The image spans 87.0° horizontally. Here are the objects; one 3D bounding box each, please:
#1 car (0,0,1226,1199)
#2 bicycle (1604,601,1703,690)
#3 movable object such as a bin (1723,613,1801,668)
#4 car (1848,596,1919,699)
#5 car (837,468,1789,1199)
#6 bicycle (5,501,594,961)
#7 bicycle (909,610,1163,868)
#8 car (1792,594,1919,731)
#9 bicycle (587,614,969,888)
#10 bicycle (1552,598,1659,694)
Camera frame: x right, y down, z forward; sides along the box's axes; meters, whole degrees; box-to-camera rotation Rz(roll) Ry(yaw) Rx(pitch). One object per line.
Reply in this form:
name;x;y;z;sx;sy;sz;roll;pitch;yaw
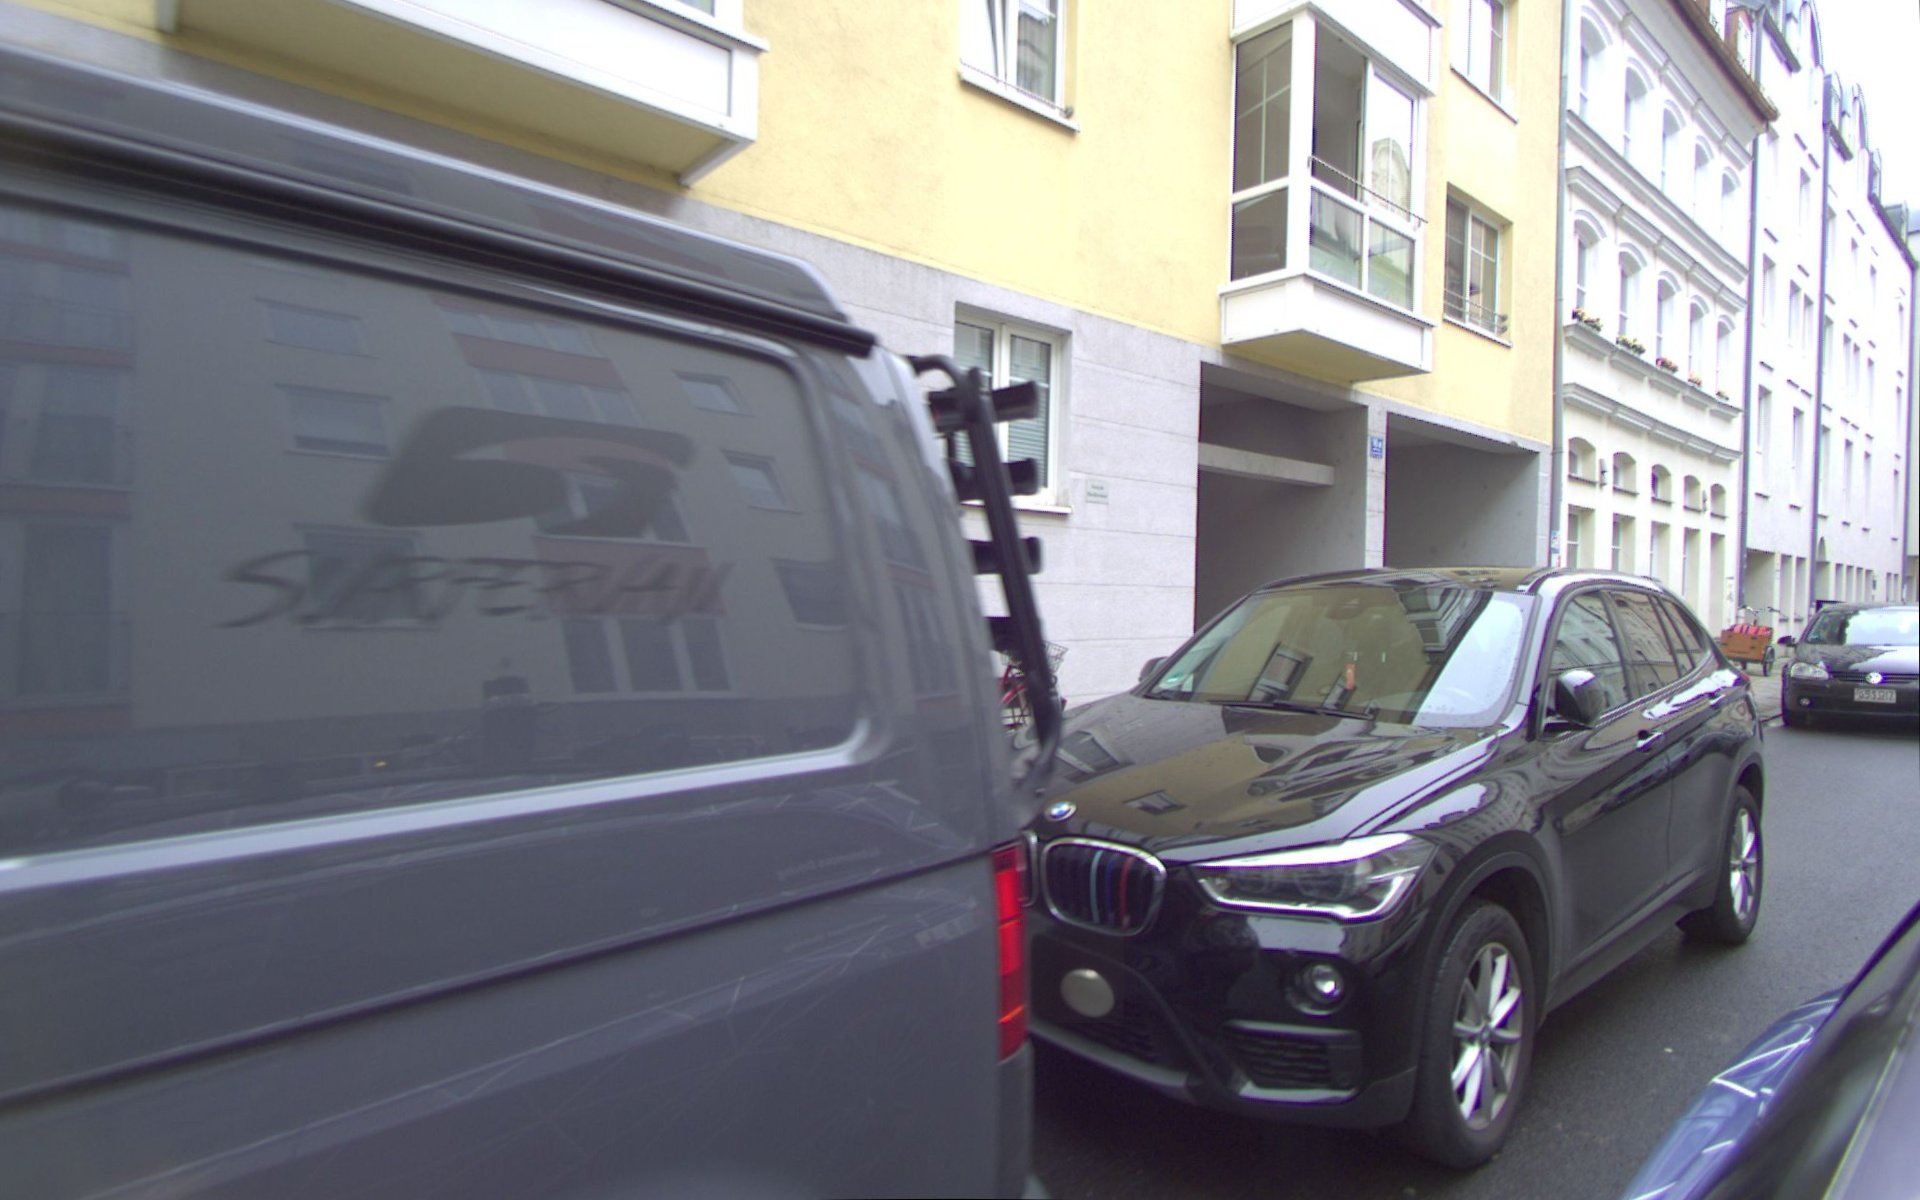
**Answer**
car;-2.037;0.397;0.777;5.019;2.039;1.876;-1;1;-41
bicycle;10.167;0.656;14.806;1.834;1.175;0.636;2;4;-40
movable object such as a bin;14.646;0.761;18.476;1.620;0.945;0.739;3;-7;-40
car;14.921;0.666;15.357;3.622;1.459;1.737;0;0;-41
car;1.740;0.576;4.068;4.155;1.707;1.835;0;0;-41
bicycle;-2.492;0.460;4.047;1.834;1.490;0.433;3;-2;-40
bicycle;0.556;0.848;6.653;1.834;1.490;0.433;3;-2;-40
car;11.596;0.664;12.466;1.745;1.459;4.161;0;0;44
bicycle;-0.876;0.699;5.245;1.834;1.177;0.636;3;-2;-40
bicycle;8.683;0.606;13.582;1.834;1.176;0.636;2;2;-40
